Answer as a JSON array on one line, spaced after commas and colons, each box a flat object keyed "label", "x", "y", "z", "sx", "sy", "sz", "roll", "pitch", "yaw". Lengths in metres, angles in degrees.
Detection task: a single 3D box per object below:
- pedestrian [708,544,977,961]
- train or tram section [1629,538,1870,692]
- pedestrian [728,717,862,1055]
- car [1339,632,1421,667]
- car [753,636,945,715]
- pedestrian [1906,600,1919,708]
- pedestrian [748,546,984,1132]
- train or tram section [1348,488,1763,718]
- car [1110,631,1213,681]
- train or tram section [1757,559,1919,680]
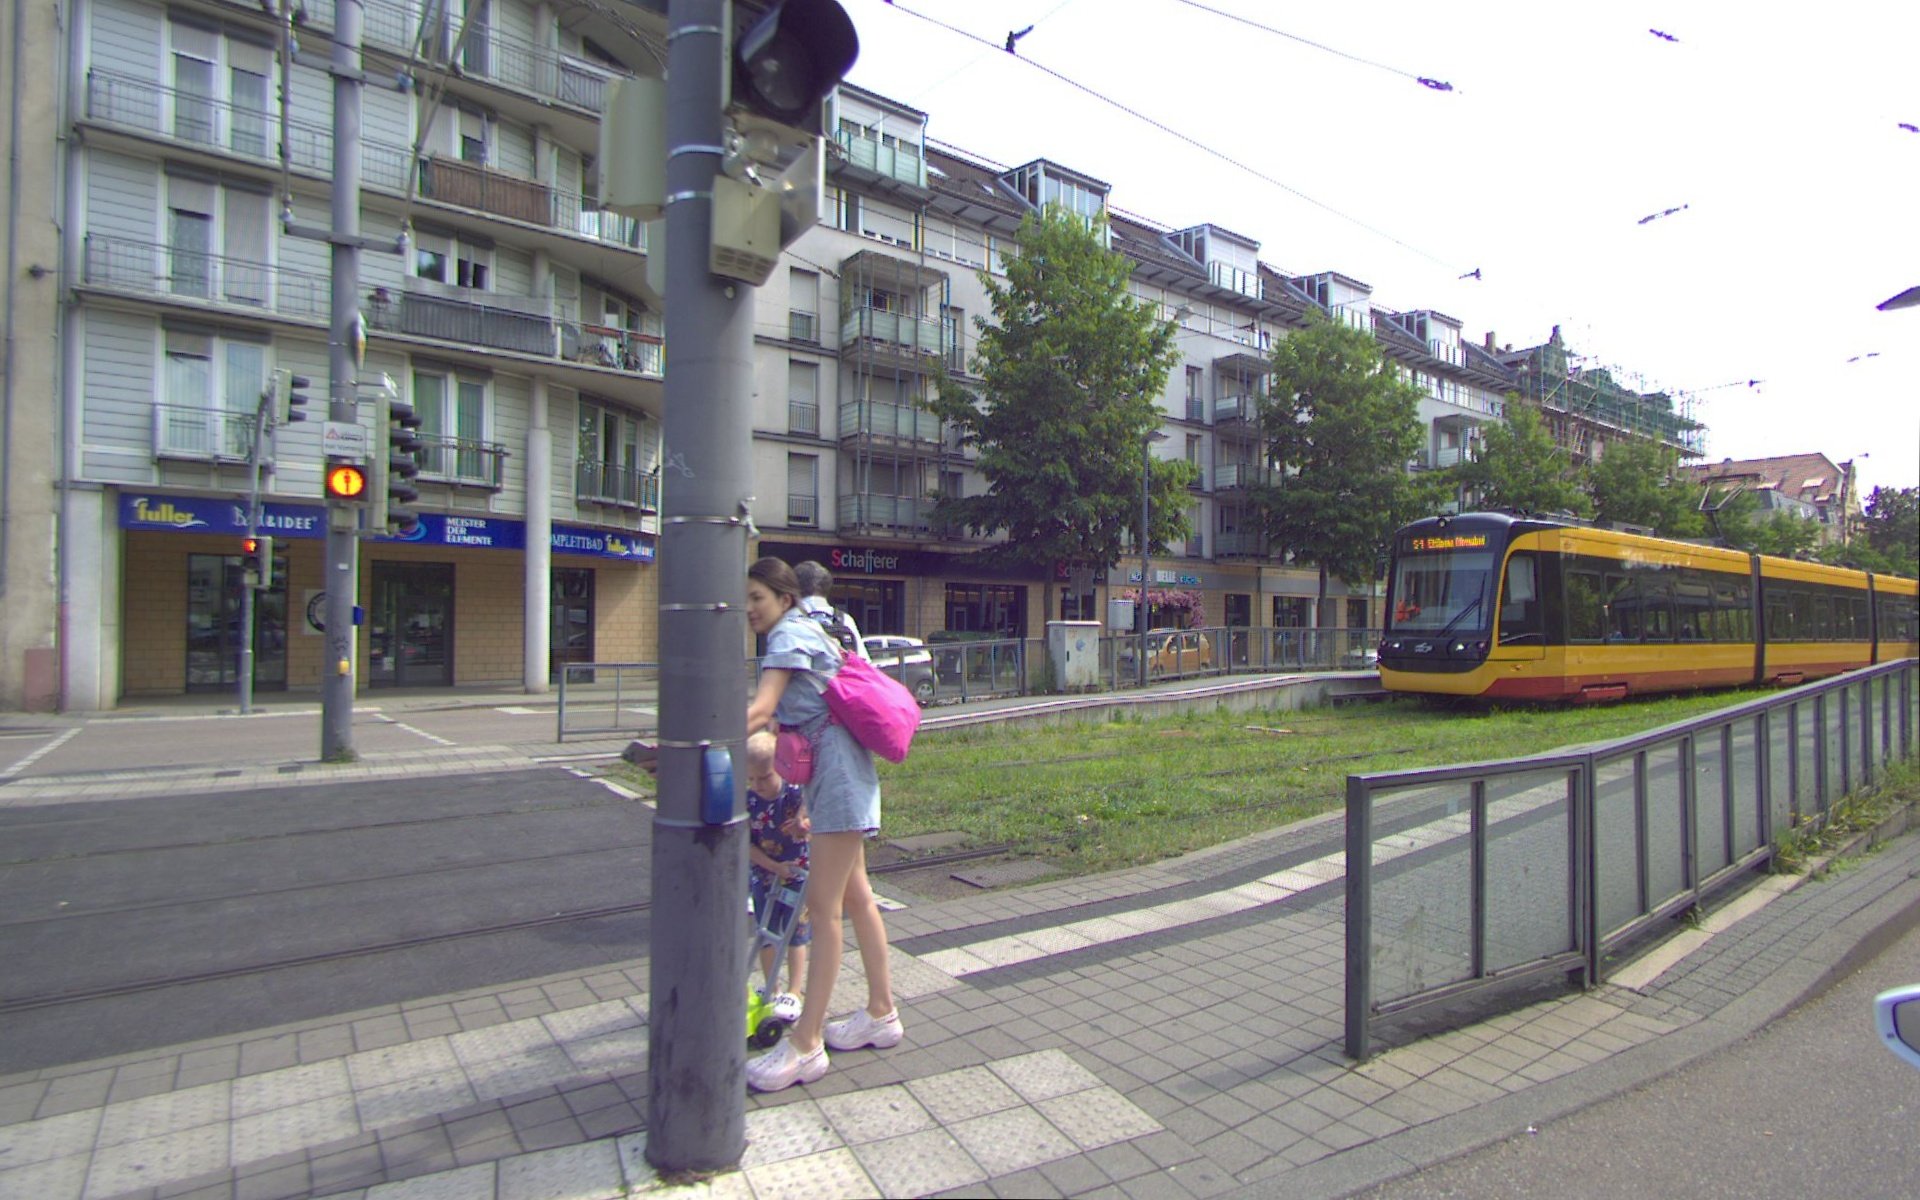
[{"label": "pedestrian", "x": -0.587, "y": 0.673, "z": 5.001, "sx": 1.035, "sy": 1.804, "sz": 0.842, "roll": 1, "pitch": -1, "yaw": -36}, {"label": "train or tram section", "x": 22.202, "y": 0.471, "z": 27.940, "sx": 10.307, "sy": 3.631, "sz": 2.775, "roll": 2, "pitch": -1, "yaw": -37}, {"label": "pedestrian", "x": -0.603, "y": 0.982, "z": 3.608, "sx": 0.429, "sy": 1.077, "sz": 0.419, "roll": 1, "pitch": -1, "yaw": -14}, {"label": "car", "x": 17.661, "y": 2.061, "z": 42.200, "sx": 3.445, "sy": 1.389, "sz": 1.707, "roll": 2, "pitch": -2, "yaw": -37}, {"label": "car", "x": -2.236, "y": 1.487, "z": 20.672, "sx": 3.611, "sy": 1.457, "sz": 1.621, "roll": 2, "pitch": -2, "yaw": -38}, {"label": "pedestrian", "x": 16.436, "y": 0.907, "z": 16.736, "sx": 0.868, "sy": 1.798, "sz": 0.851, "roll": 2, "pitch": -1, "yaw": -36}, {"label": "pedestrian", "x": -0.332, "y": 0.699, "z": 3.284, "sx": 0.664, "sy": 1.688, "sz": 0.624, "roll": 1, "pitch": -1, "yaw": -14}, {"label": "train or tram section", "x": 12.981, "y": 0.204, "z": 20.910, "sx": 12.895, "sy": 3.631, "sz": 2.787, "roll": 2, "pitch": -1, "yaw": -37}, {"label": "car", "x": 6.861, "y": 1.856, "z": 34.080, "sx": 3.447, "sy": 1.599, "sz": 1.640, "roll": 2, "pitch": -2, "yaw": -39}, {"label": "train or tram section", "x": 31.473, "y": 0.740, "z": 34.970, "sx": 12.895, "sy": 3.631, "sz": 2.704, "roll": 2, "pitch": -1, "yaw": -37}]
